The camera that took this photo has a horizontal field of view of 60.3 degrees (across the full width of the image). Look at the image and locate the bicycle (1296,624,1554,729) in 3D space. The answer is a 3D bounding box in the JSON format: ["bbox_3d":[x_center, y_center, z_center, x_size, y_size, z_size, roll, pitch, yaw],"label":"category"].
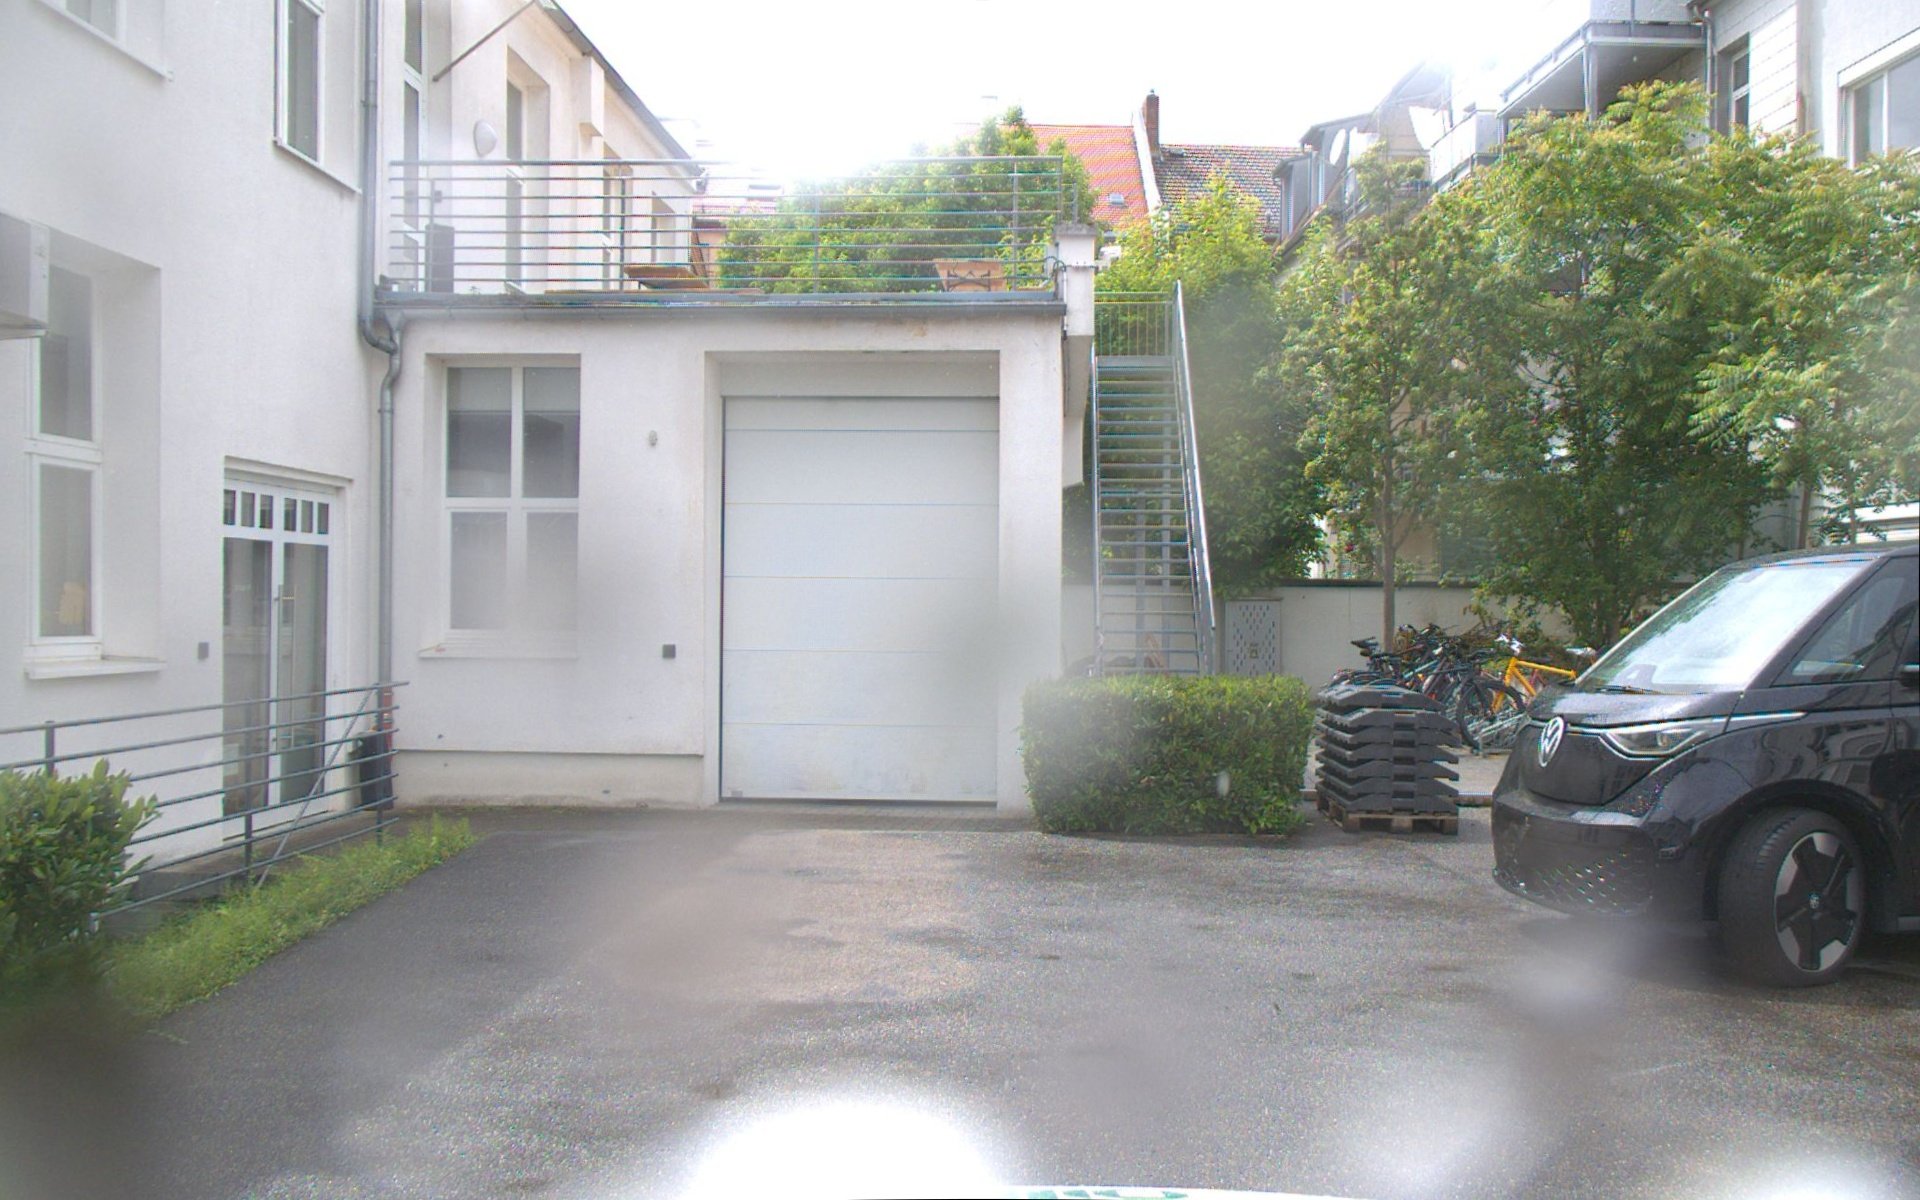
[{"bbox_3d":[5.393,0.884,19.281,2.785,1.097,0.689,2,1,0],"label":"bicycle"}]

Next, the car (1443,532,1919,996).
[{"bbox_3d":[4.948,0.641,7.918,4.616,1.865,2.109,-1,0,-4],"label":"car"}]

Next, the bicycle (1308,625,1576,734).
[{"bbox_3d":[5.385,0.881,18.573,2.785,1.097,0.689,2,1,0],"label":"bicycle"}]

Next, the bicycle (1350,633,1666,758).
[{"bbox_3d":[5.366,0.927,16.300,2.863,1.097,0.689,2,1,0],"label":"bicycle"}]

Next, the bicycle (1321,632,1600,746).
[{"bbox_3d":[5.373,0.947,17.859,2.785,1.097,0.689,2,1,0],"label":"bicycle"}]

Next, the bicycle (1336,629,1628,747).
[{"bbox_3d":[5.375,0.902,17.135,2.785,1.097,0.689,2,1,0],"label":"bicycle"}]
